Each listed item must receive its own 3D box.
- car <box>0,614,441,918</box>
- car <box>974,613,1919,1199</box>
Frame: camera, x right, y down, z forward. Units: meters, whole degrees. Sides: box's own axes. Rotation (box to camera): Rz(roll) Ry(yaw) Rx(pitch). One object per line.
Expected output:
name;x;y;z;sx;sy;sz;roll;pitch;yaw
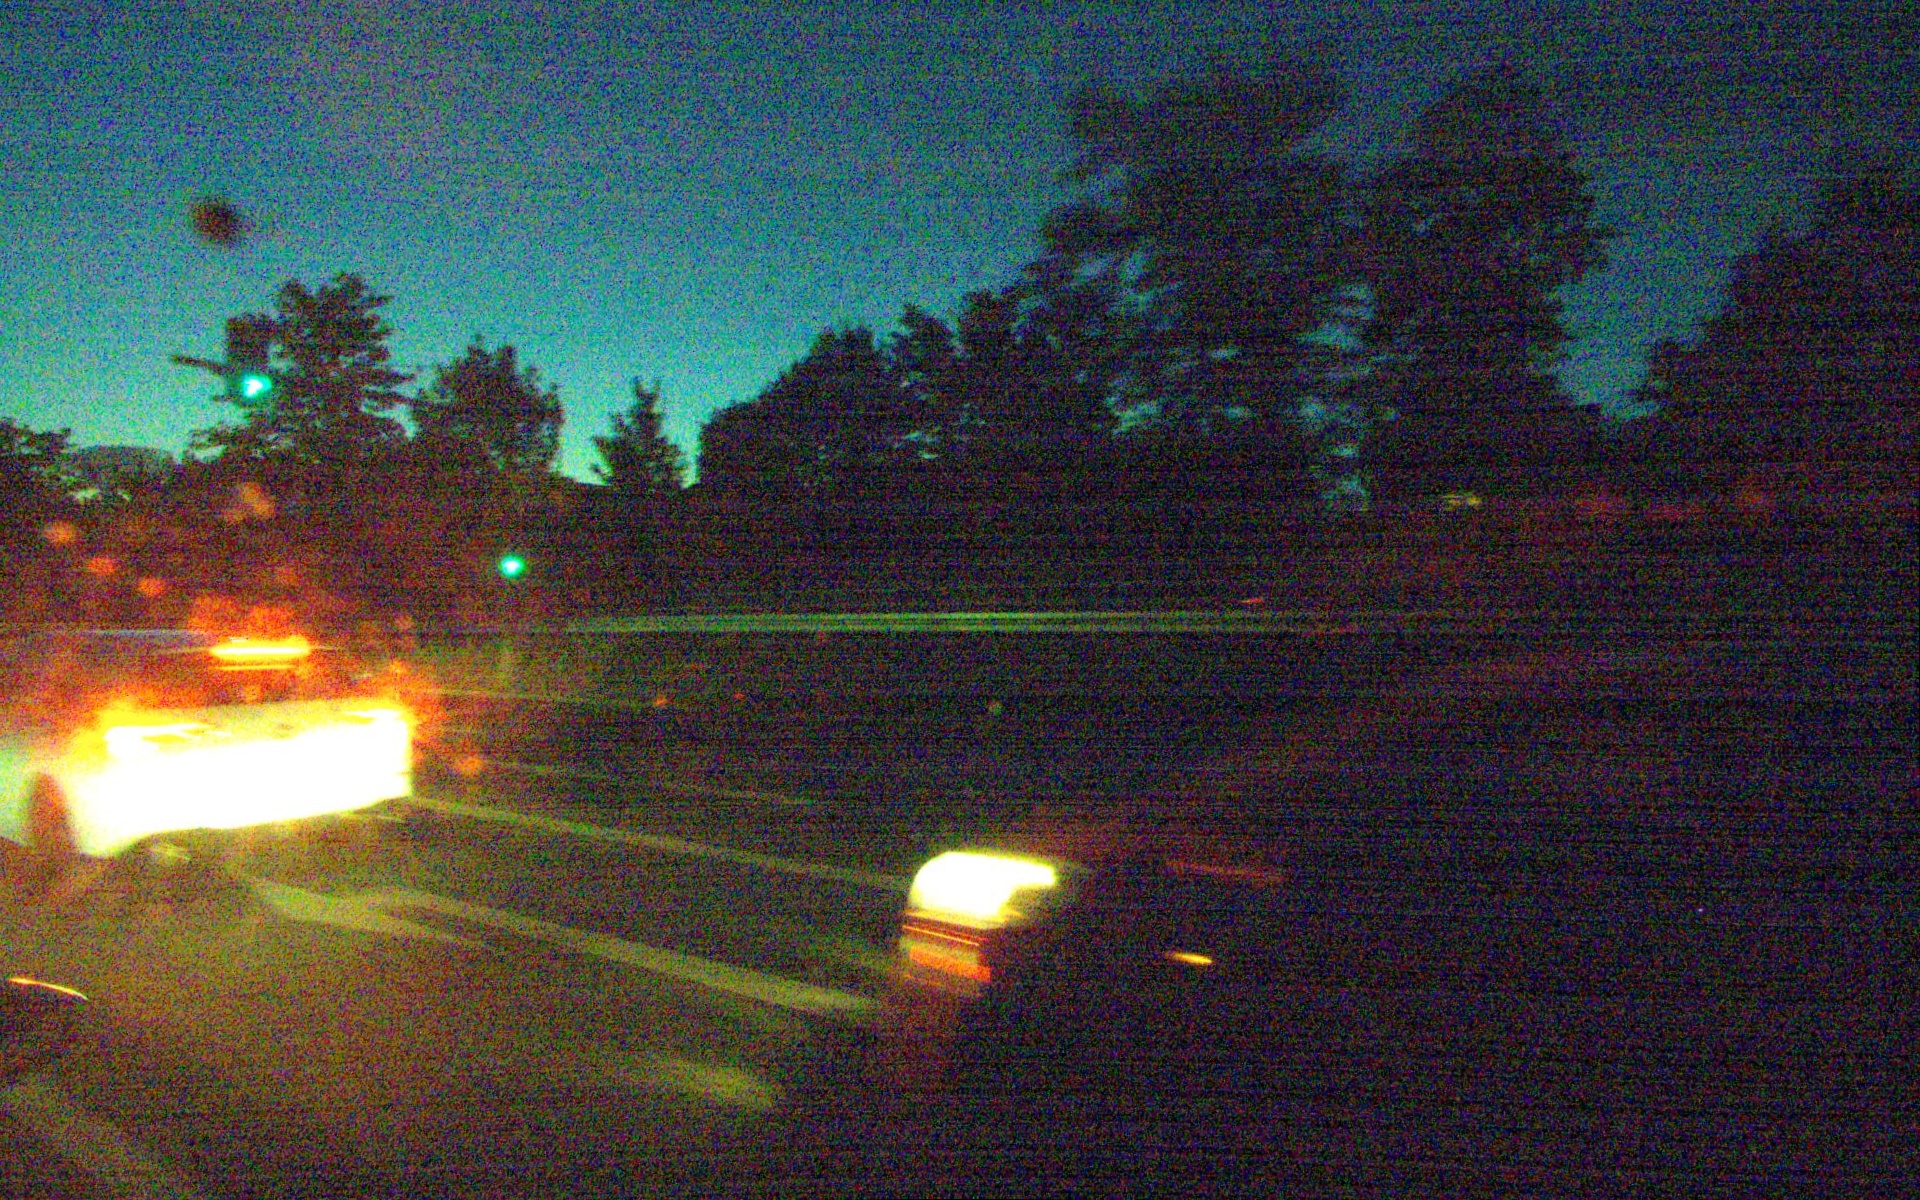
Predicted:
car;-5.556;0.848;6.752;4.130;1.478;1.756;0;-1;31
car;1.927;0.784;2.400;3.439;1.469;1.650;0;-1;32
